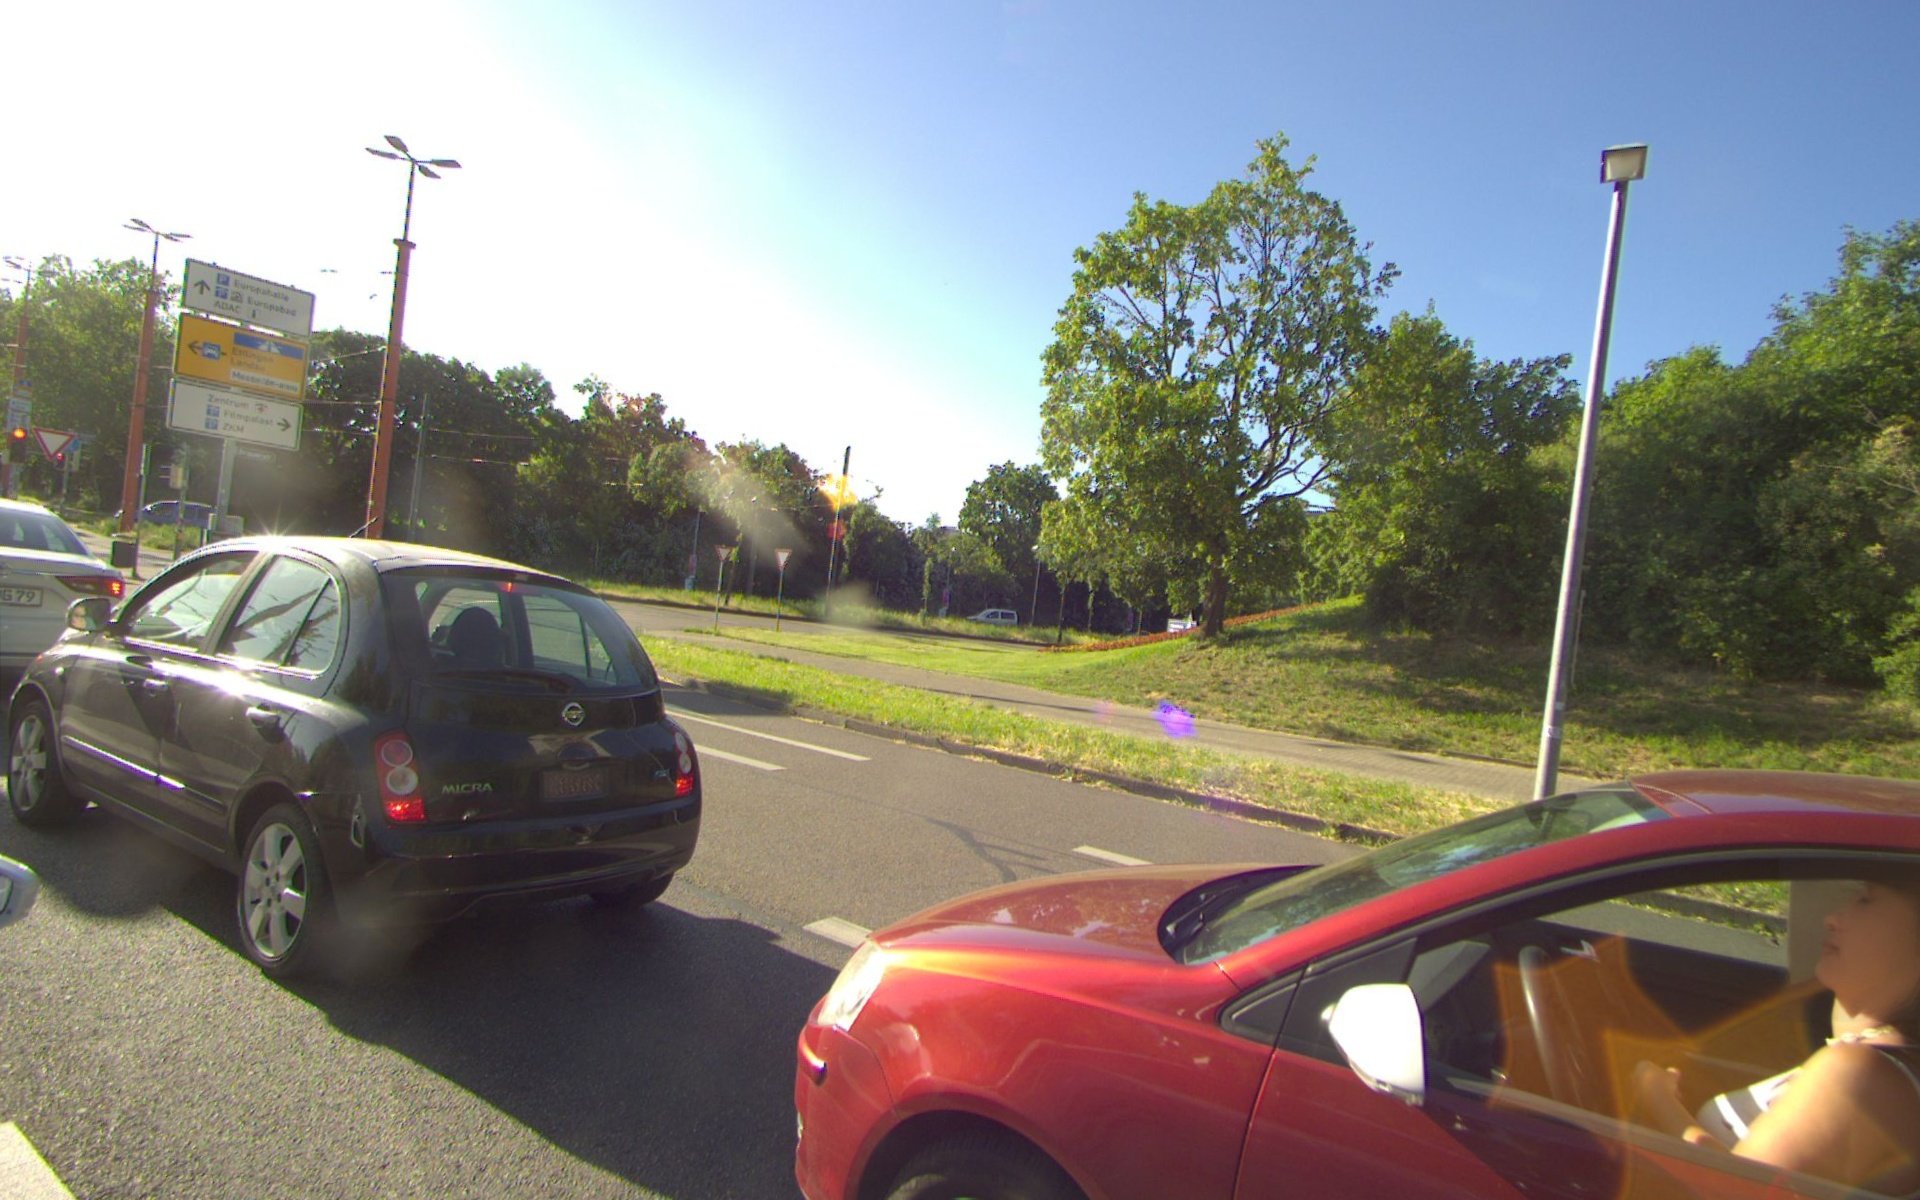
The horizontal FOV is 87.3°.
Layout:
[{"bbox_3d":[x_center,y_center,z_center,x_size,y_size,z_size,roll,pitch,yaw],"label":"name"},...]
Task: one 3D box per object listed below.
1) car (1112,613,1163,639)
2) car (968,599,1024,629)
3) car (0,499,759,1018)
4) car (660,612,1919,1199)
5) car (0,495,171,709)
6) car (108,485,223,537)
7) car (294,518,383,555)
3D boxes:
[{"bbox_3d":[15.263,2.217,86.387,4.176,1.701,1.643,8,-1,-32],"label":"car"},{"bbox_3d":[2.835,1.128,78.843,4.093,1.771,1.642,8,-1,-33],"label":"car"},{"bbox_3d":[-2.795,0.468,4.626,3.385,1.457,1.579,6,-2,32],"label":"car"},{"bbox_3d":[1.348,1.002,1.870,3.629,1.477,1.579,6,-2,32],"label":"car"},{"bbox_3d":[-8.367,-0.174,8.082,4.256,1.457,1.802,6,-2,33],"label":"car"},{"bbox_3d":[-39.344,-4.387,49.965,4.087,1.812,1.786,8,-1,-29],"label":"car"},{"bbox_3d":[-34.999,-3.561,56.745,4.093,1.419,1.642,8,-1,-33],"label":"car"}]
